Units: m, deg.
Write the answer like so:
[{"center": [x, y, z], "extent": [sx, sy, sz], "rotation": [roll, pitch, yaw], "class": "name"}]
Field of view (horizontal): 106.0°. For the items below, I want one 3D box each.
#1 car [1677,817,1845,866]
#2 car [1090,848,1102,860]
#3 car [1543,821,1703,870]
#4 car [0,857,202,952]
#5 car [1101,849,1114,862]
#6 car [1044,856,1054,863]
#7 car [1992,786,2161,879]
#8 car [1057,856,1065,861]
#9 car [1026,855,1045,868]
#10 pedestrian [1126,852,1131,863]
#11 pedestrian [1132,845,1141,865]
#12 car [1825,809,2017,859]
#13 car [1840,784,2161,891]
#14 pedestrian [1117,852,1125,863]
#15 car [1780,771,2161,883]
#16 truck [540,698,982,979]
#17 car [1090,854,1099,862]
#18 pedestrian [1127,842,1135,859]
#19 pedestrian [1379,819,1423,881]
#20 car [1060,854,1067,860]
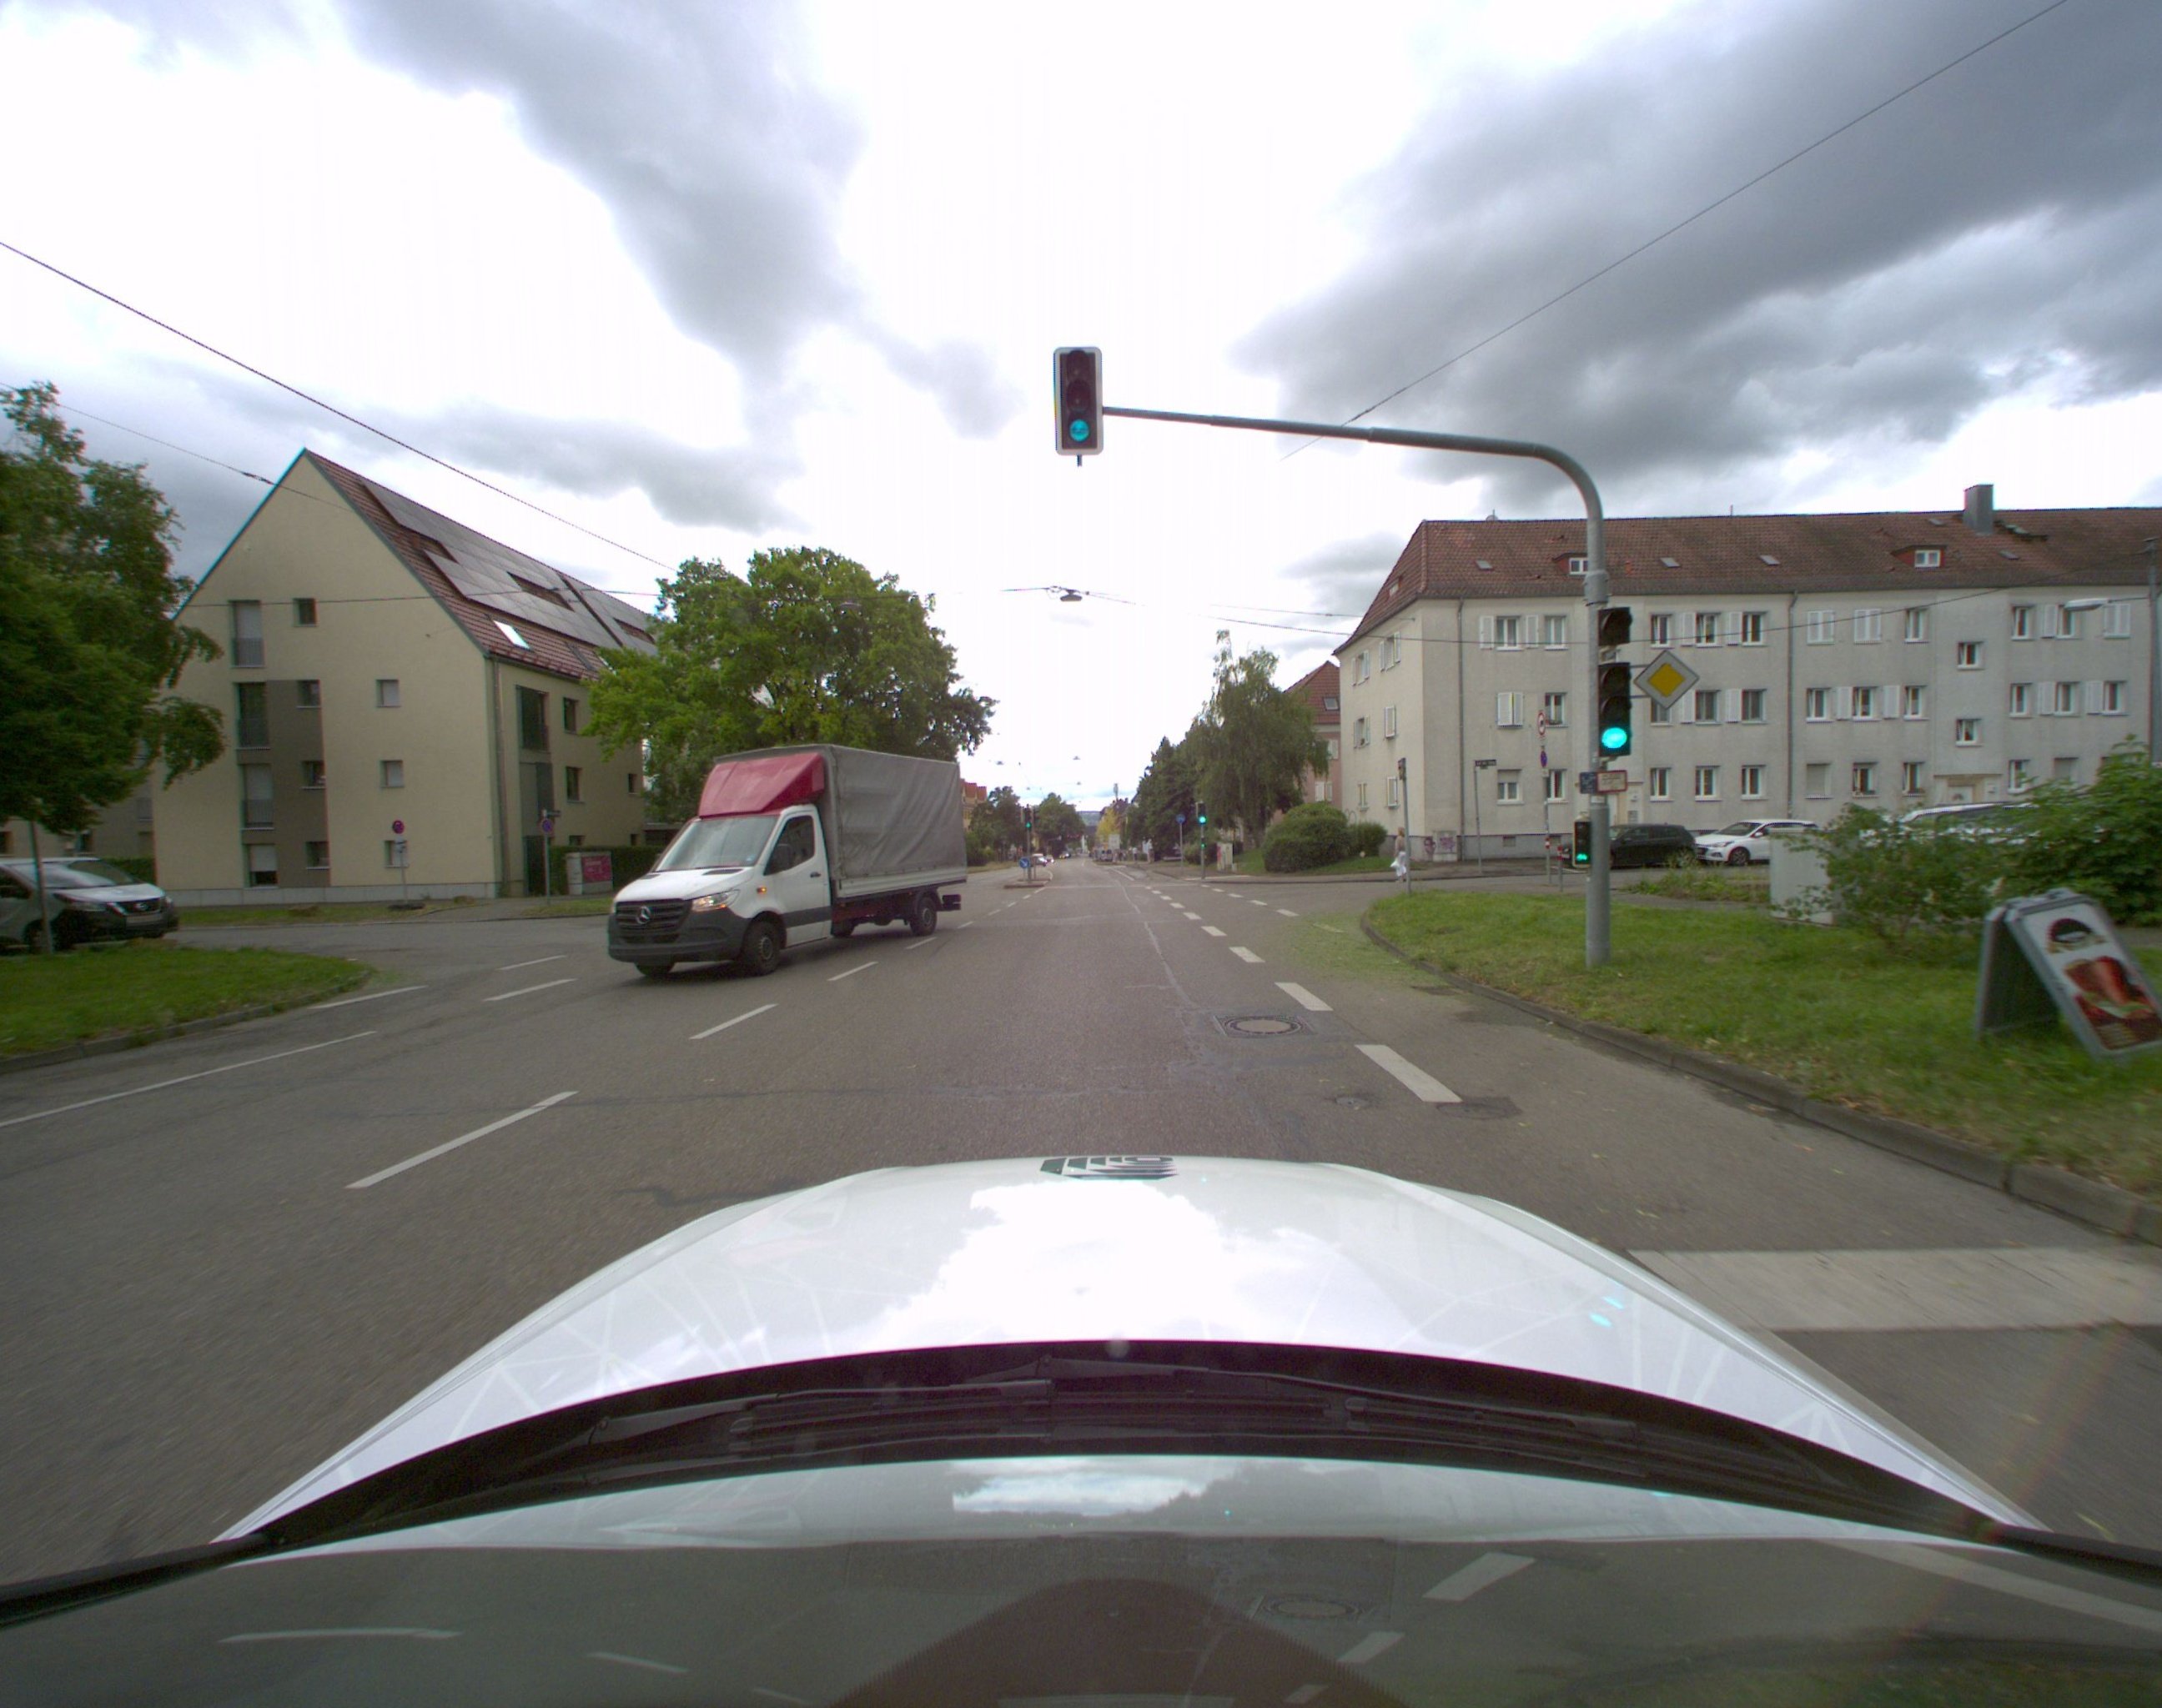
[{"center": [22.866, -0.399, 27.525], "extent": [3.970, 1.536, 2.002], "rotation": [-1, 0, 3], "class": "car"}, {"center": [2.874, 0.007, 156.288], "extent": [1.989, 2.172, 3.996], "rotation": [-1, 0, -3], "class": "car"}, {"center": [18.016, -0.267, 27.233], "extent": [3.970, 1.536, 2.002], "rotation": [-1, 0, 3], "class": "car"}, {"center": [-21.770, 1.008, 16.806], "extent": [4.978, 1.813, 1.999], "rotation": [-1, 0, -2], "class": "car"}, {"center": [3.994, 0.240, 123.082], "extent": [1.986, 2.013, 4.001], "rotation": [-1, 0, 1], "class": "car"}, {"center": [-7.102, 1.193, 180.436], "extent": [1.987, 1.505, 3.999], "rotation": [-1, 0, -1], "class": "car"}, {"center": [18.664, -0.377, 13.875], "extent": [1.815, 1.536, 3.973], "rotation": [-1, 0, -2], "class": "car"}, {"center": [-5.791, 1.368, 235.489], "extent": [1.987, 1.505, 3.999], "rotation": [-1, 0, -1], "class": "car"}, {"center": [-5.326, 0.866, 95.497], "extent": [1.987, 1.505, 3.999], "rotation": [-1, 0, -1], "class": "car"}, {"center": [7.929, 0.557, 135.850], "extent": [0.918, 1.810, 1.102], "rotation": [-1, 0, 1], "class": "pedestrian"}, {"center": [6.204, 0.159, 90.538], "extent": [0.985, 2.207, 0.939], "rotation": [-1, 0, 3], "class": "pedestrian"}, {"center": [27.973, -0.679, 27.248], "extent": [4.265, 1.536, 2.003], "rotation": [-1, 3, 3], "class": "car"}, {"center": [16.003, -0.281, 13.938], "extent": [1.988, 1.536, 4.295], "rotation": [-1, 1, -2], "class": "car"}, {"center": [6.663, 0.529, 135.812], "extent": [1.196, 1.810, 1.301], "rotation": [-1, 0, 1], "class": "pedestrian"}, {"center": [13.747, -0.365, 12.863], "extent": [1.865, 1.473, 3.995], "rotation": [-1, 0, -3], "class": "car"}, {"center": [-4.454, -0.197, 13.409], "extent": [2.510, 3.307, 7.287], "rotation": [-1, 0, 20], "class": "truck"}, {"center": [3.199, 0.931, 192.560], "extent": [1.988, 1.656, 3.997], "rotation": [-1, 0, -2], "class": "car"}, {"center": [6.846, -0.488, 111.952], "extent": [0.987, 2.207, 0.937], "rotation": [-1, 0, -2], "class": "pedestrian"}, {"center": [9.947, -0.121, 25.361], "extent": [0.749, 1.855, 0.950], "rotation": [-4, 0, -14], "class": "pedestrian"}, {"center": [-5.169, 0.873, 243.276], "extent": [1.987, 1.505, 3.999], "rotation": [-1, 0, -1], "class": "car"}]
